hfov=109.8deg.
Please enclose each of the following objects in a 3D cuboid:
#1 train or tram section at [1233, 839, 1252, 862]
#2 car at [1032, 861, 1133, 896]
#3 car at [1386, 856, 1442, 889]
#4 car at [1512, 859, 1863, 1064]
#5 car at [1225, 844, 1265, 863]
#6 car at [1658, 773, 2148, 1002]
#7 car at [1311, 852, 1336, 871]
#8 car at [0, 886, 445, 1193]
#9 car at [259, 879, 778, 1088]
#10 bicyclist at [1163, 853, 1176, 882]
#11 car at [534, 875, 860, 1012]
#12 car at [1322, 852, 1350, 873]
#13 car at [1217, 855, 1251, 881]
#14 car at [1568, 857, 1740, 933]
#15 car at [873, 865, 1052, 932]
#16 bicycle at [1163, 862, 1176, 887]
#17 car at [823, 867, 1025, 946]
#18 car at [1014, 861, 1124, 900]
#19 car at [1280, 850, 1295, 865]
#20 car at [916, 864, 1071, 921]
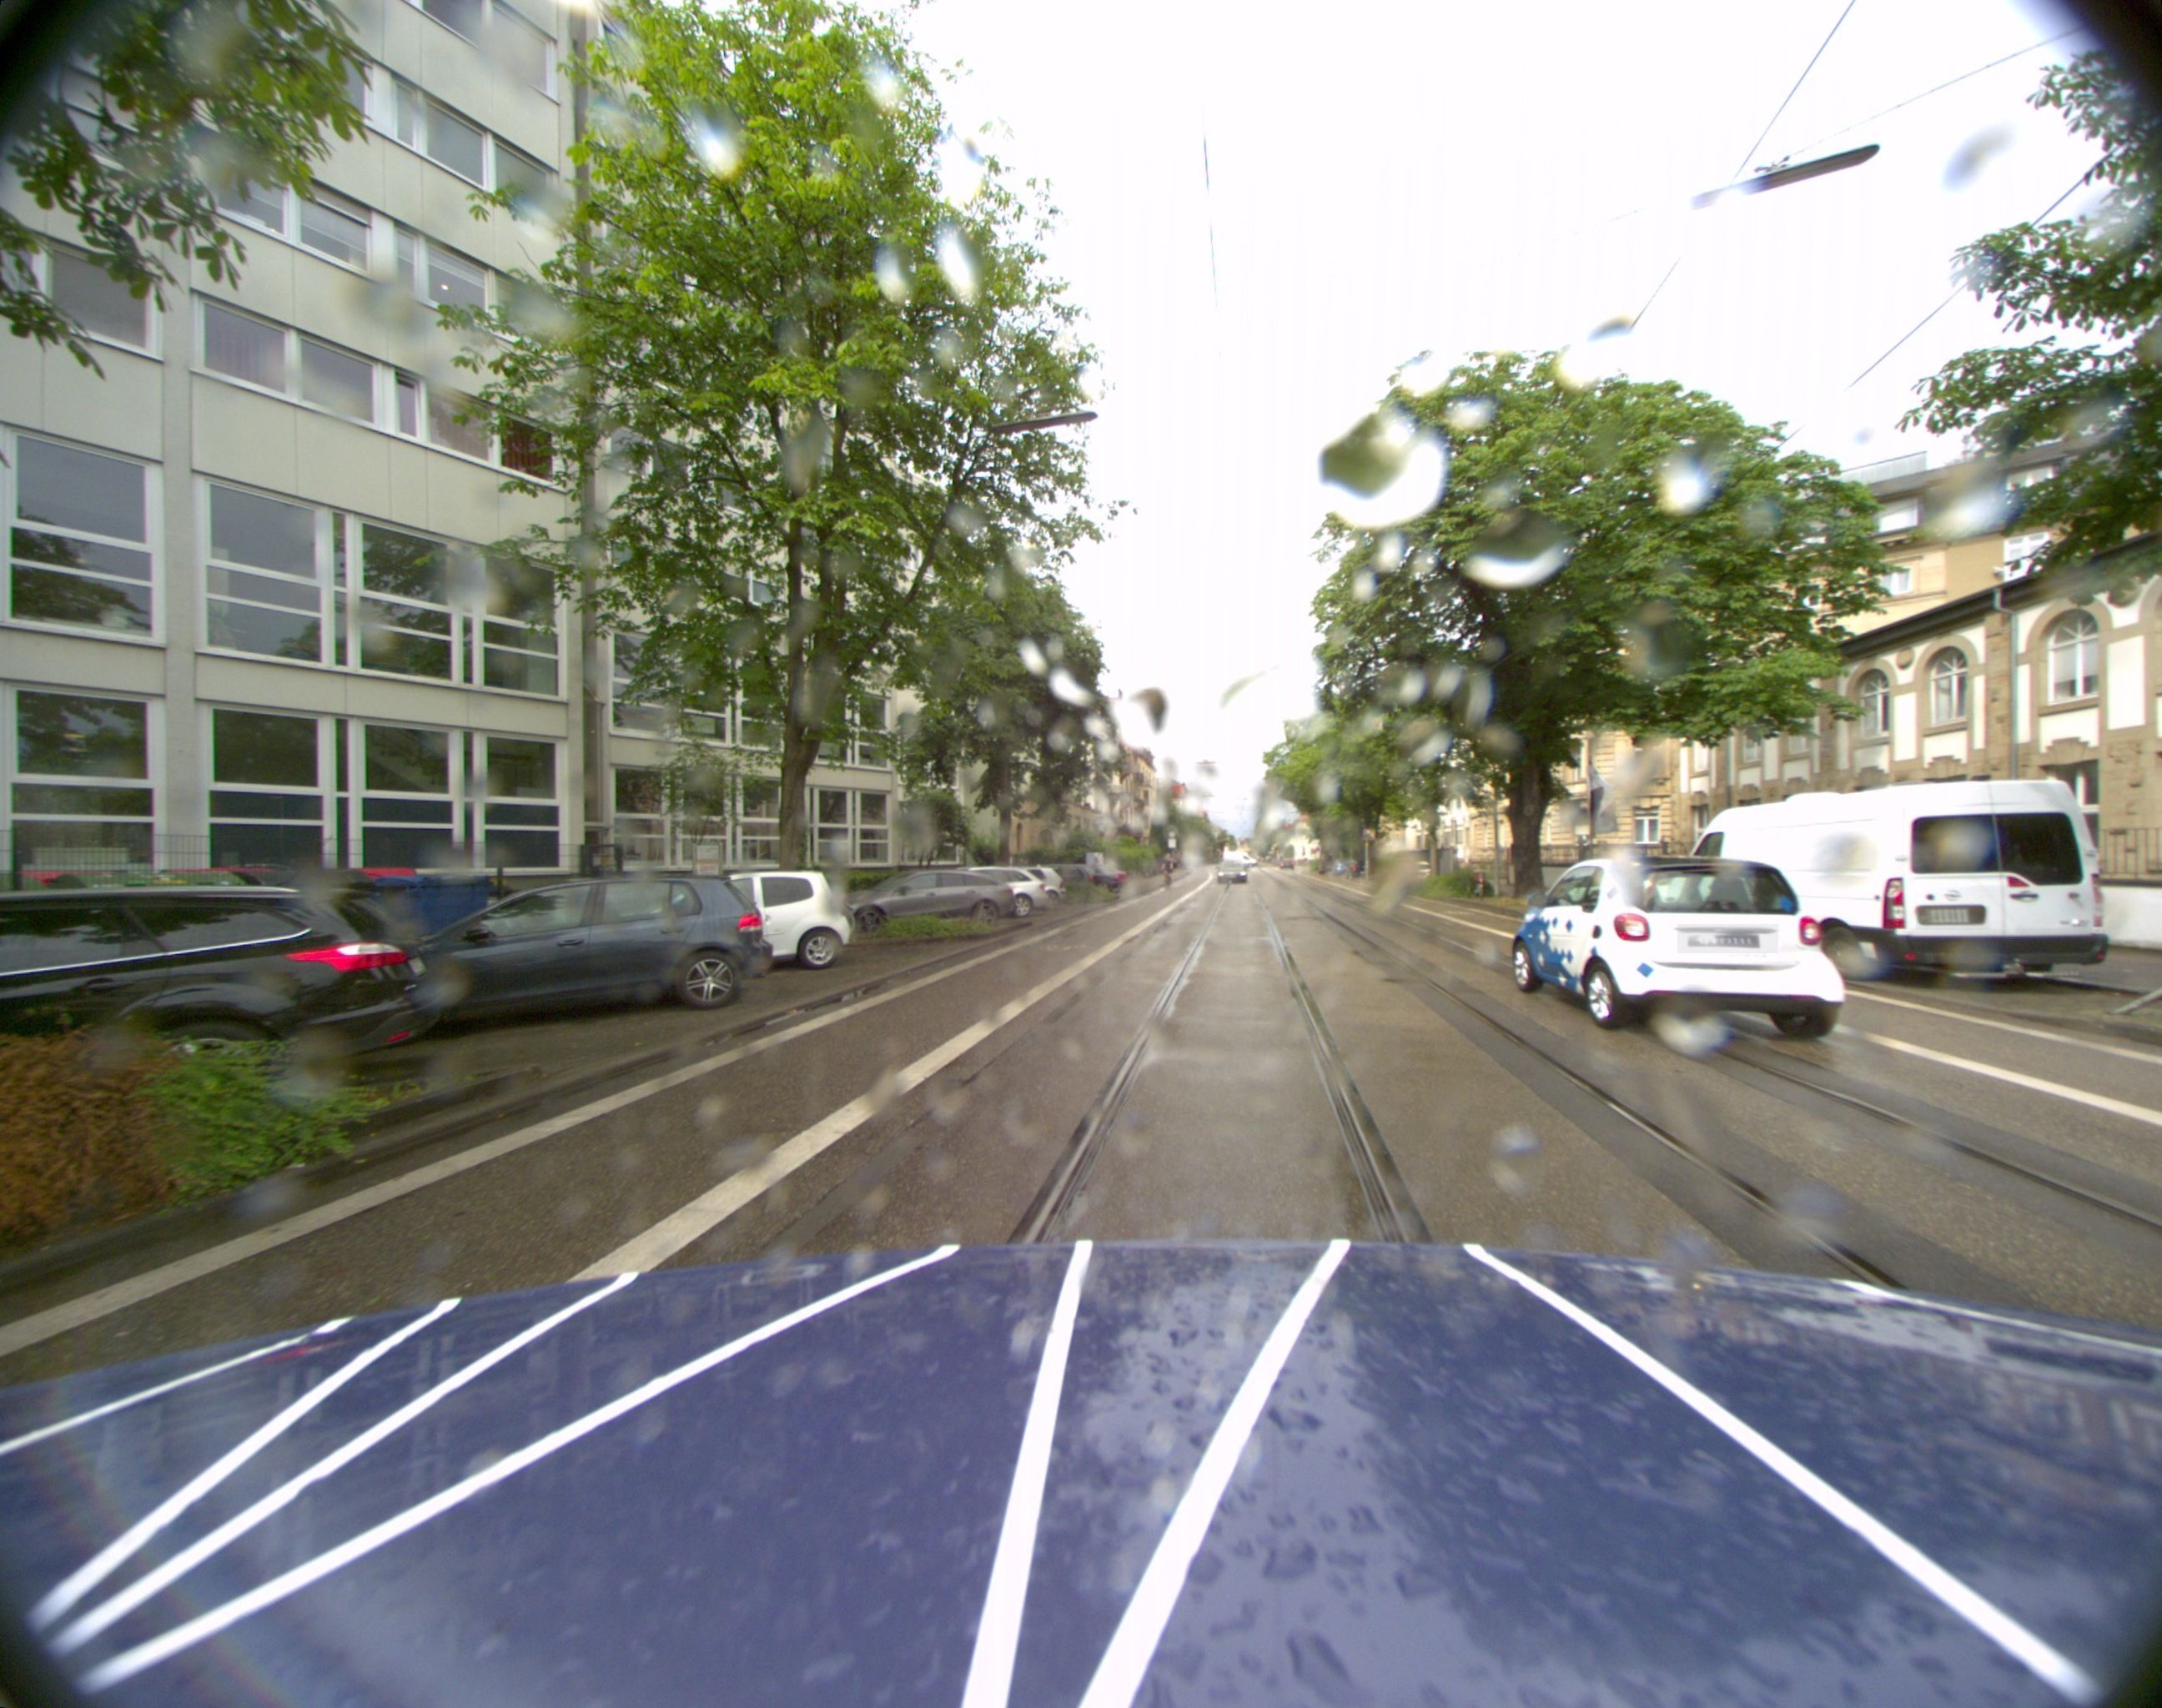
[{"bbox_3d":[28.160,-0.641,132.958,3.018,3.850,9.581,-2,1,12],"label":"train or tram section"},{"bbox_3d":[0.086,1.151,36.830,4.446,1.444,1.902,-3,1,-25],"label":"car"},{"bbox_3d":[17.006,0.922,38.986,1.792,1.489,4.033,-2,1,12],"label":"car"},{"bbox_3d":[5.461,0.864,7.259,1.612,1.506,2.609,-2,1,12],"label":"car"},{"bbox_3d":[26.548,-0.084,123.037,5.709,2.815,2.760,-2,1,26],"label":"car"},{"bbox_3d":[11.094,0.406,11.091,2.137,2.495,5.278,-2,0,12],"label":"car"},{"bbox_3d":[24.290,0.741,76.122,1.864,1.743,4.121,-2,1,11],"label":"car"},{"bbox_3d":[-6.824,1.103,4.558,4.378,1.546,1.874,-3,0,-34],"label":"car"},{"bbox_3d":[-5.445,1.104,7.938,3.888,1.445,1.818,-3,1,-33],"label":"car"},{"bbox_3d":[4.888,0.742,42.030,0.644,1.608,0.674,-2,1,6],"label":"bicyclist"},{"bbox_3d":[-5.428,1.128,10.978,3.888,1.445,1.773,-3,1,-33],"label":"car"},{"bbox_3d":[22.257,0.736,66.369,1.755,1.666,4.121,-2,1,11],"label":"car"},{"bbox_3d":[9.633,0.850,48.065,1.997,1.472,4.767,-2,0,11],"label":"car"},{"bbox_3d":[12.857,0.866,17.324,1.911,1.541,3.374,-2,-1,14],"label":"car"},{"bbox_3d":[-3.209,1.129,20.799,4.401,1.444,1.881,-3,1,-32],"label":"car"},{"bbox_3d":[4.892,1.127,41.999,0.644,1.259,1.869,-2,1,7],"label":"bicycle"},{"bbox_3d":[-3.640,1.143,17.845,4.213,1.444,1.809,-3,1,-32],"label":"car"},{"bbox_3d":[-0.540,1.133,33.682,4.446,1.444,1.902,-3,1,-25],"label":"car"},{"bbox_3d":[28.319,0.508,104.214,1.844,1.875,3.929,-2,1,17],"label":"car"},{"bbox_3d":[-2.713,1.139,23.909,4.378,1.444,1.901,-3,1,-32],"label":"car"}]
